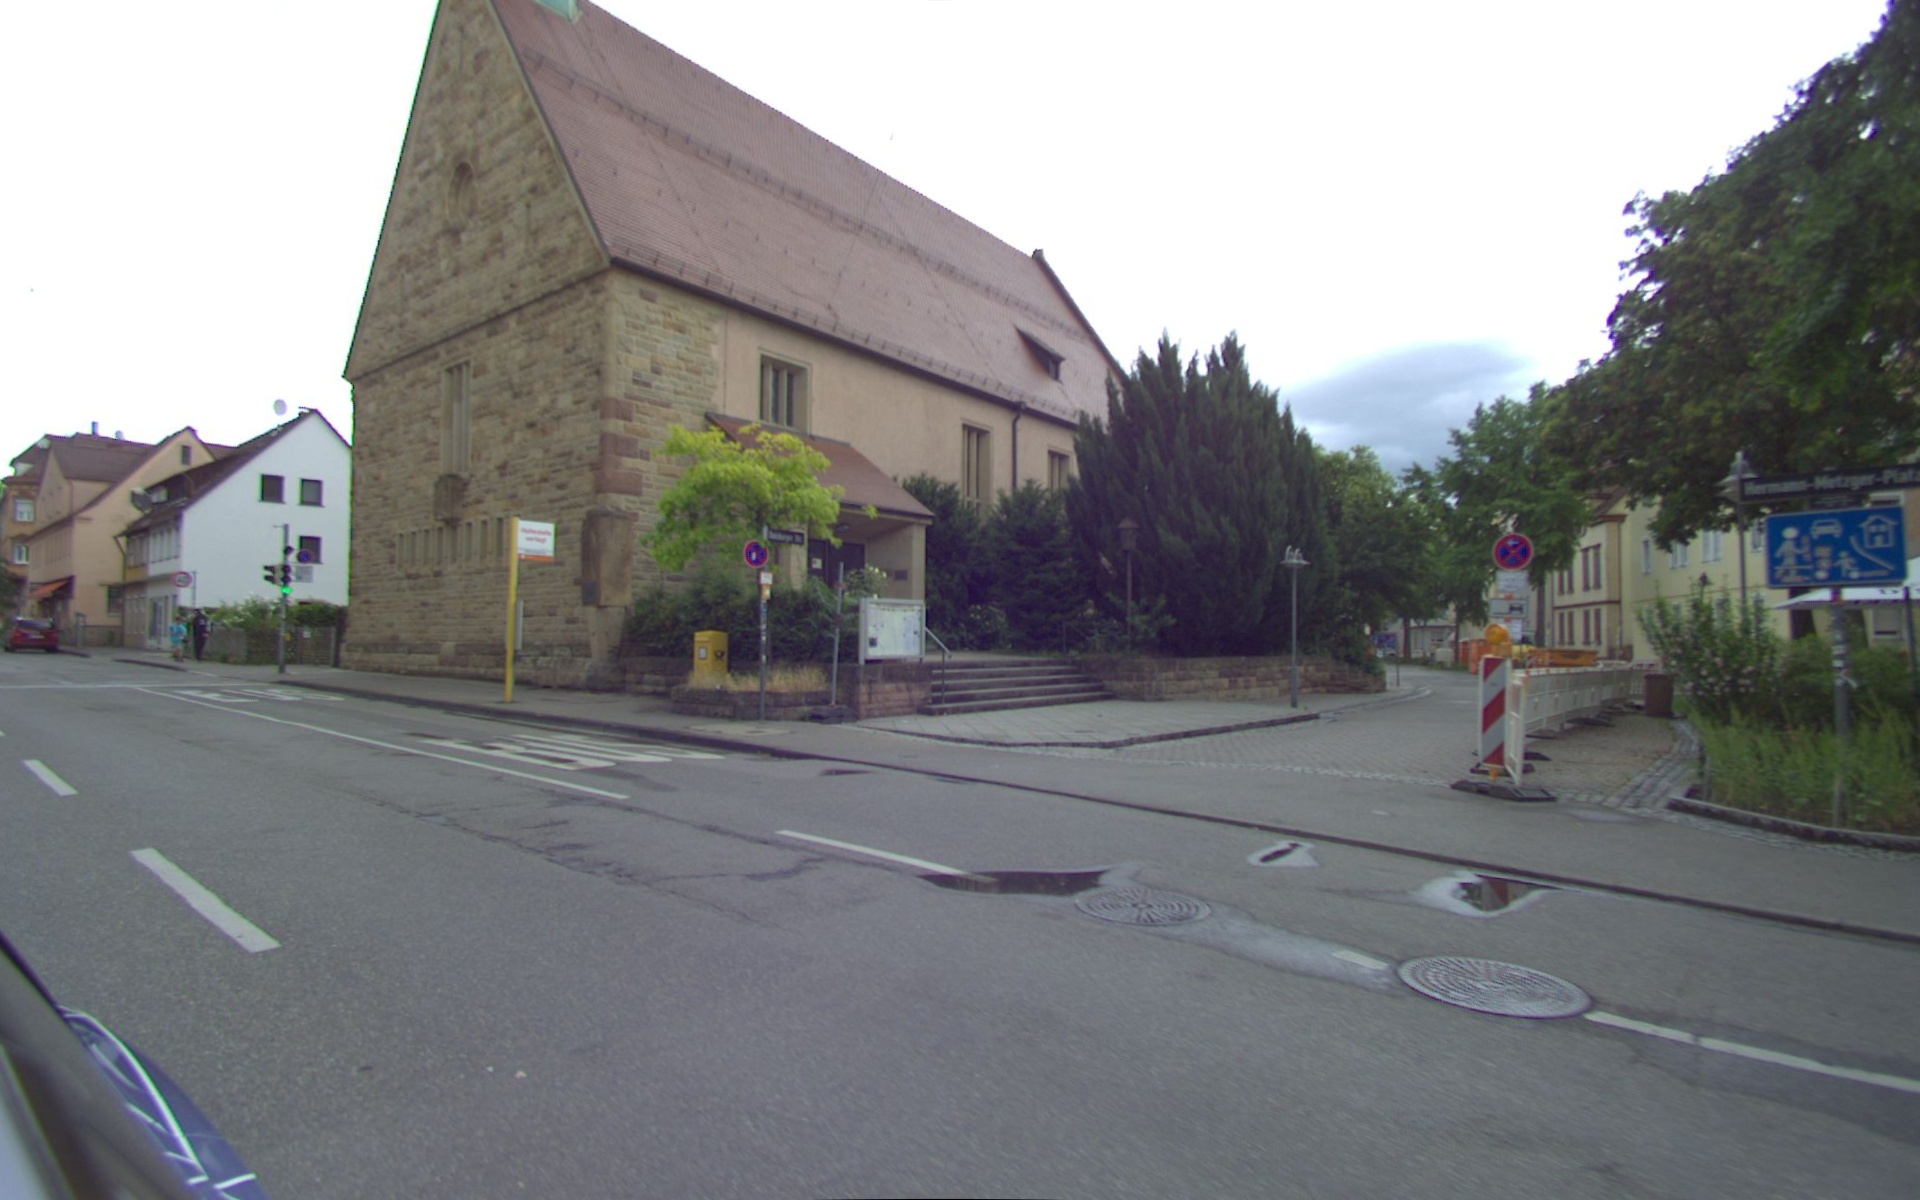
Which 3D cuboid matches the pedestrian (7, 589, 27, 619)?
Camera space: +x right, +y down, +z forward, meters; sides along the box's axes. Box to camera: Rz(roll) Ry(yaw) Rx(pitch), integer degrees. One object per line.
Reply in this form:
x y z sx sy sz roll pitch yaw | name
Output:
-55.766 0.240 59.843 0.983 1.768 0.730 -1 -2 43 | pedestrian

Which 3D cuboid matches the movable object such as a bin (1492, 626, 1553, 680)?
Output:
29.644 2.776 53.468 1.980 2.671 3.167 1 -2 13 | movable object such as a bin

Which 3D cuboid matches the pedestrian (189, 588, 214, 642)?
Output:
-26.443 0.526 35.282 0.697 1.862 0.564 -1 1 43 | pedestrian

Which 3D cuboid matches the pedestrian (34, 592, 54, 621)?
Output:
-52.532 0.368 58.050 0.758 1.641 0.723 1 1 39 | pedestrian

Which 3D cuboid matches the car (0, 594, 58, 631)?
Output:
-43.812 0.588 47.441 4.449 1.586 1.684 0 -4 42 | car

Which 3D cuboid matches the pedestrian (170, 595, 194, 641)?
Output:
-27.331 0.626 35.537 0.697 1.566 0.564 -1 -1 43 | pedestrian
